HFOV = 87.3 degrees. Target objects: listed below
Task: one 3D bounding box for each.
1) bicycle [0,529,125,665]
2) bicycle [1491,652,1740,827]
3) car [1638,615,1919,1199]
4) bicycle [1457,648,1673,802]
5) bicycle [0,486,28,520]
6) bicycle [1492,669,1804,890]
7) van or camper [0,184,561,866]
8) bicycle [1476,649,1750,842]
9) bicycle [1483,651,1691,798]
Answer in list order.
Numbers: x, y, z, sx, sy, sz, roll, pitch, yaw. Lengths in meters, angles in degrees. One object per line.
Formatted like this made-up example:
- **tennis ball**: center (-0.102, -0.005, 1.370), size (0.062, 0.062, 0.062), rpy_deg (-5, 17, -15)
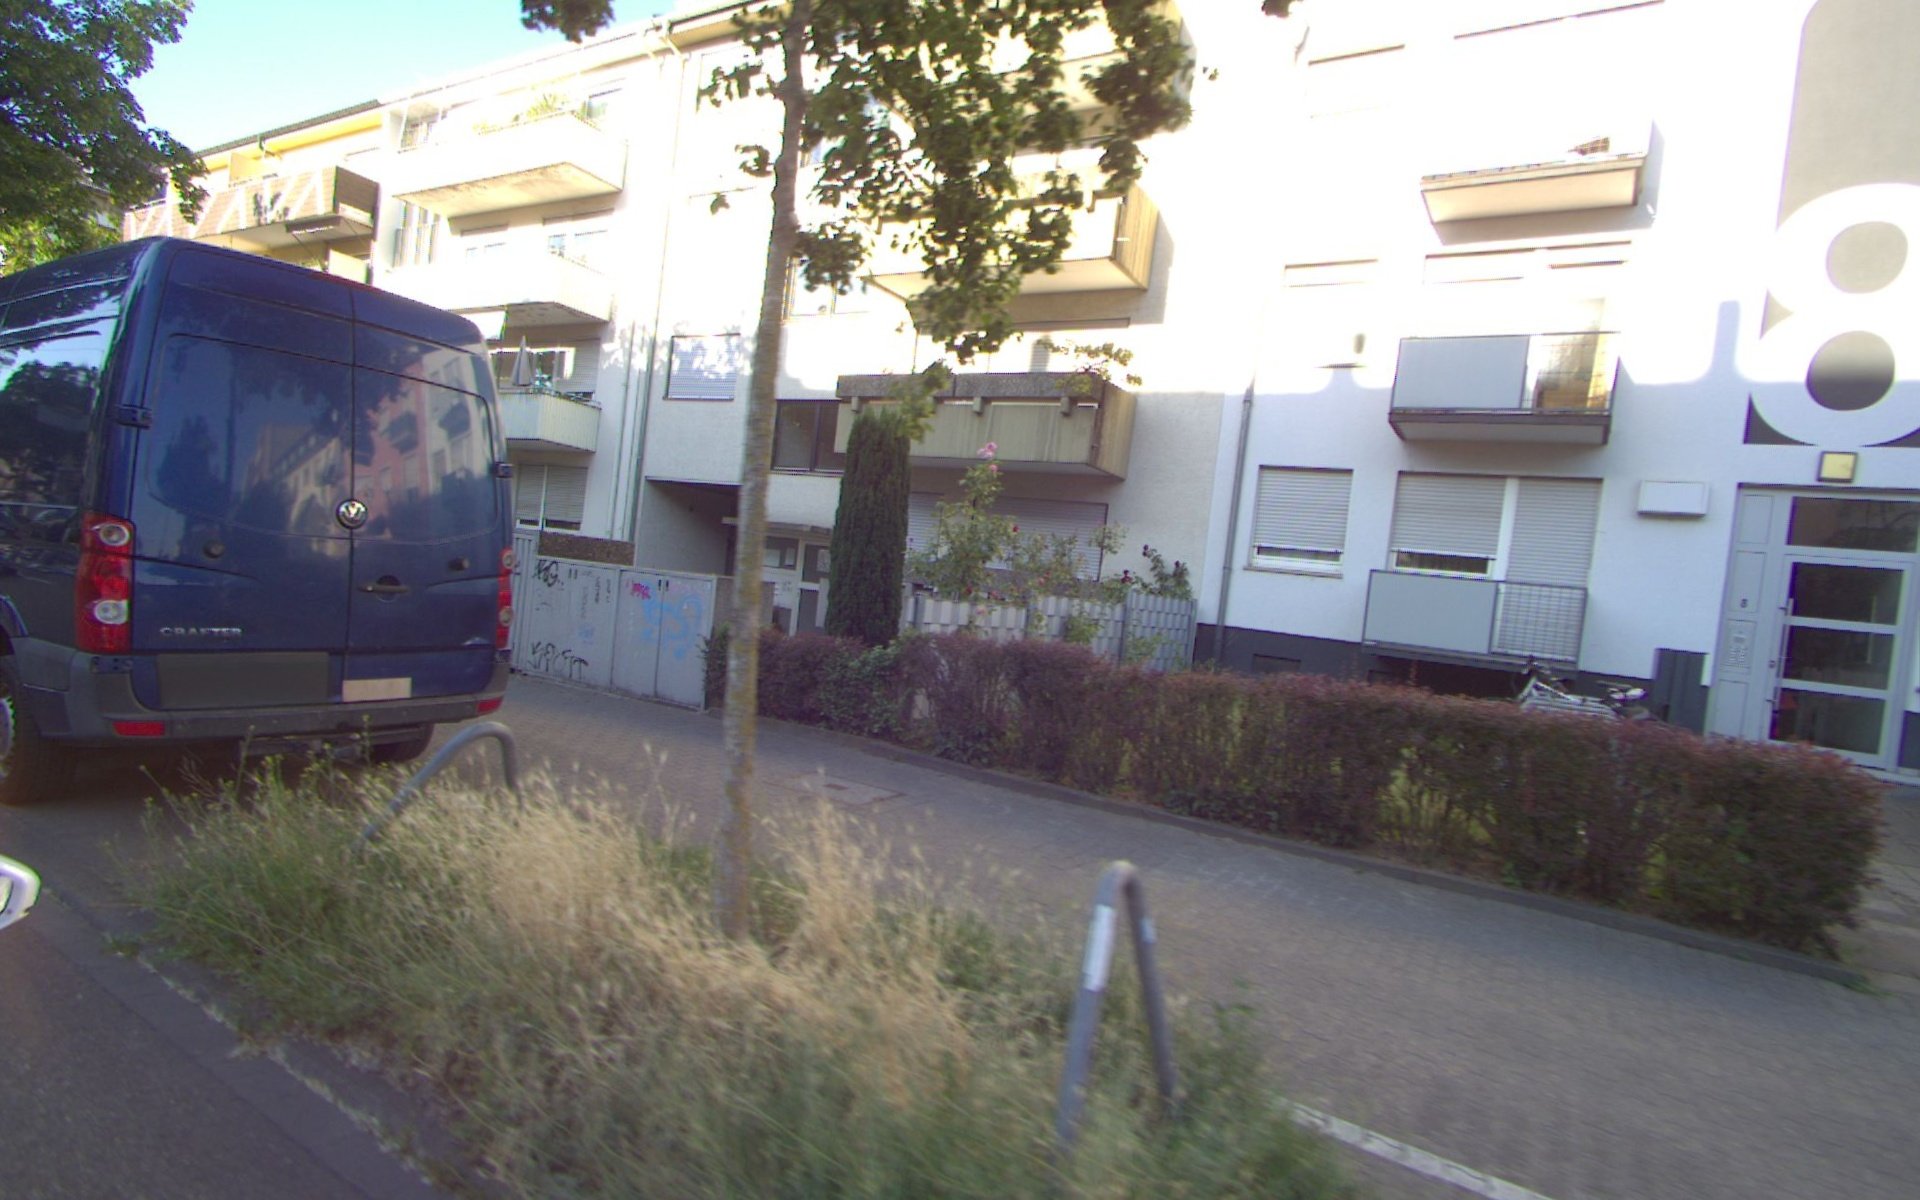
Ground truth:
- **bicycle**: center (-8.134, -0.039, 8.381), size (0.398, 1.103, 1.702), rpy_deg (8, 1, 35)
- **bicycle**: center (5.212, 1.071, 8.098), size (1.519, 1.103, 0.492), rpy_deg (8, 2, 32)
- **car**: center (2.992, 1.064, 0.925), size (3.694, 1.663, 1.774), rpy_deg (6, 1, 31)
- **bicycle**: center (5.428, 1.088, 9.097), size (1.519, 1.103, 0.492), rpy_deg (8, 2, 32)
- **bicycle**: center (-30.268, -3.102, 31.983), size (1.554, 0.961, 0.343), rpy_deg (7, -1, 27)
- **bicycle**: center (4.427, 1.113, 6.593), size (1.519, 1.103, 0.492), rpy_deg (8, 2, 32)
- **van or camper**: center (-5.407, -0.503, 6.444), size (5.891, 2.710, 2.069), rpy_deg (6, 1, 32)
- **bicycle**: center (4.737, 1.019, 7.401), size (1.519, 1.103, 0.492), rpy_deg (8, 2, 32)
- **bicycle**: center (5.895, 1.142, 9.534), size (1.519, 1.103, 0.492), rpy_deg (8, 2, 32)
